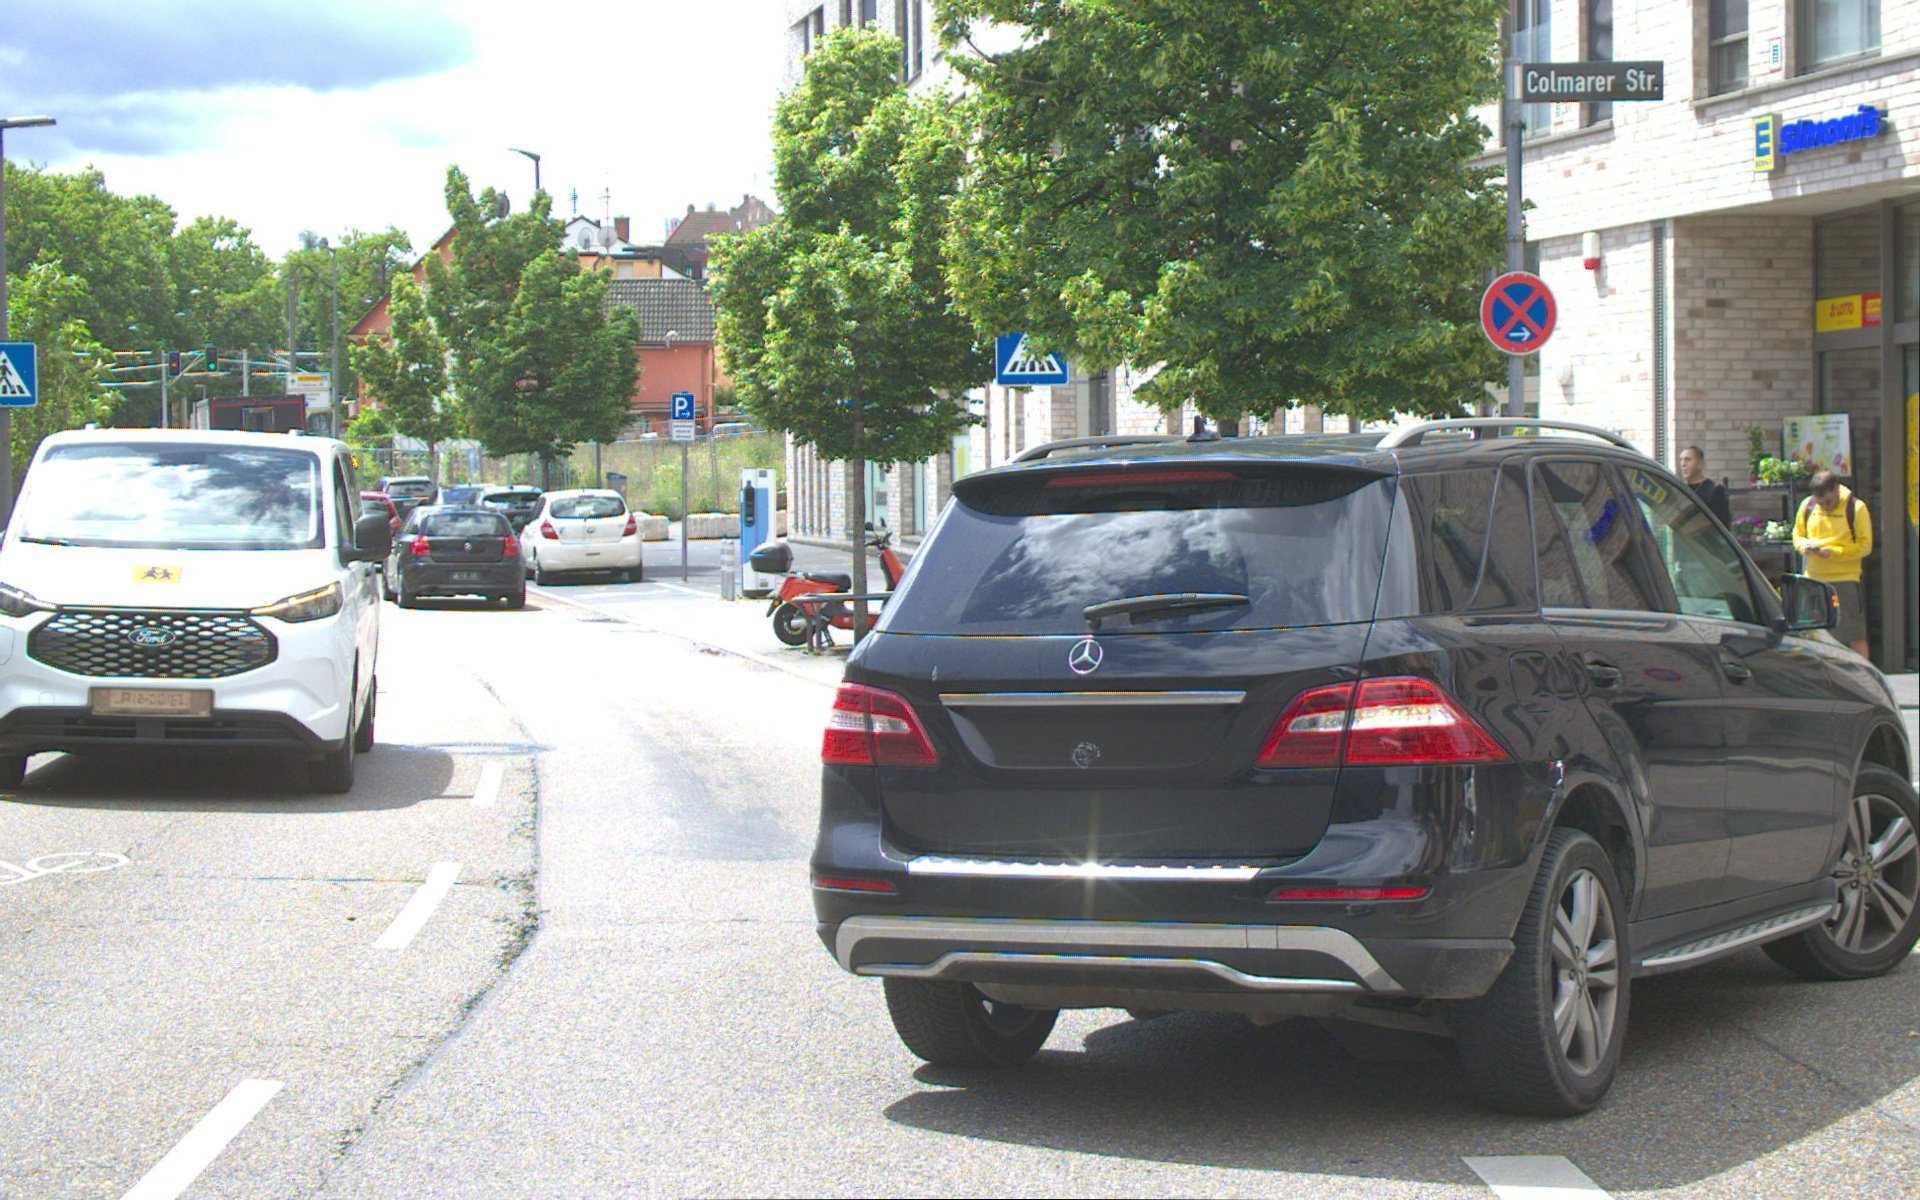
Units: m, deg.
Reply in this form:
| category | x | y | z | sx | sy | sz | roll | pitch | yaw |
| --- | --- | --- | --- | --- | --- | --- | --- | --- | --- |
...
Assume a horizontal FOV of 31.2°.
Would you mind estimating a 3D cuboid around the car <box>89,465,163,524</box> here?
| category | x | y | z | sx | sy | sz | roll | pitch | yaw |
| --- | --- | --- | --- | --- | --- | --- | --- | --- | --- |
| car | -21.769 | -2.770 | 89.815 | 1.811 | 1.464 | 3.909 | 0 | 2 | -13 |

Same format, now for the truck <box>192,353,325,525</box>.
| category | x | y | z | sx | sy | sz | roll | pitch | yaw |
| --- | --- | --- | --- | --- | --- | --- | --- | --- | --- |
| truck | -19.667 | -4.374 | 95.977 | 3.202 | 4.520 | 9.031 | 0 | 1 | -14 |

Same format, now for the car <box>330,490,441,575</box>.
| category | x | y | z | sx | sy | sz | roll | pitch | yaw |
| --- | --- | --- | --- | --- | --- | --- | --- | --- | --- |
| car | -10.452 | -1.255 | 62.396 | 1.711 | 1.388 | 3.810 | -2 | 3 | -13 |

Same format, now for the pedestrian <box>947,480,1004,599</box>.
| category | x | y | z | sx | sy | sz | roll | pitch | yaw |
| --- | --- | --- | --- | --- | --- | --- | --- | --- | --- |
| pedestrian | 0.196 | -0.777 | 43.649 | 0.607 | 1.467 | 0.791 | -2 | 3 | -6 |

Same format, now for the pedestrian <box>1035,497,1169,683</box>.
| category | x | y | z | sx | sy | sz | roll | pitch | yaw |
| --- | --- | --- | --- | --- | --- | --- | --- | --- | --- |
| pedestrian | 1.210 | -0.086 | 29.346 | 0.927 | 1.560 | 0.815 | 0 | 0 | -15 |

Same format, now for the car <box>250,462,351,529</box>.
| category | x | y | z | sx | sy | sz | roll | pitch | yaw |
| --- | --- | --- | --- | --- | --- | --- | --- | --- | --- |
| car | -15.218 | -2.405 | 79.225 | 1.887 | 1.460 | 4.071 | -2 | 2 | -16 |

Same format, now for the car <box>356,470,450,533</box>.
| category | x | y | z | sx | sy | sz | roll | pitch | yaw |
| --- | --- | --- | --- | --- | --- | --- | --- | --- | --- |
| car | -13.939 | -2.483 | 85.937 | 1.781 | 1.446 | 4.478 | -3 | 3 | -15 |

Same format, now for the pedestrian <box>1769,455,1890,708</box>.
| category | x | y | z | sx | sy | sz | roll | pitch | yaw |
| --- | --- | --- | --- | --- | --- | --- | --- | --- | --- |
| pedestrian | 5.910 | -0.137 | 23.353 | 0.658 | 1.686 | 0.631 | 0 | 2 | 27 |

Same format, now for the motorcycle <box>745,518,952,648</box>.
| category | x | y | z | sx | sy | sz | roll | pitch | yaw |
| --- | --- | --- | --- | --- | --- | --- | --- | --- | --- |
| motorcycle | -1.150 | -0.180 | 35.852 | 2.050 | 1.261 | 0.673 | -2 | 1 | 4 |

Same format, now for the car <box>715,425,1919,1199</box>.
| category | x | y | z | sx | sy | sz | roll | pitch | yaw |
| --- | --- | --- | --- | --- | --- | --- | --- | --- | --- |
| car | 1.349 | 0.394 | 10.132 | 1.996 | 1.740 | 4.526 | -1 | 2 | 28 |

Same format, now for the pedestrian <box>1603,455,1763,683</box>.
| category | x | y | z | sx | sy | sz | roll | pitch | yaw |
| --- | --- | --- | --- | --- | --- | --- | --- | --- | --- |
| pedestrian | 5.637 | -0.251 | 26.805 | 1.014 | 1.735 | 0.660 | -1 | 2 | -17 |

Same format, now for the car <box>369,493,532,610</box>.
| category | x | y | z | sx | sy | sz | roll | pitch | yaw |
| --- | --- | --- | --- | --- | --- | --- | --- | --- | --- |
| car | -7.139 | -0.707 | 47.930 | 1.726 | 1.451 | 3.810 | -2 | 3 | -16 |

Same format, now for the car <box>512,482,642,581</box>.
| category | x | y | z | sx | sy | sz | roll | pitch | yaw |
| --- | --- | --- | --- | --- | --- | --- | --- | --- | --- |
| car | -6.284 | -1.144 | 56.156 | 1.692 | 1.478 | 3.799 | -2 | 3 | -12 |

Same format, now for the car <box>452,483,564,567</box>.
| category | x | y | z | sx | sy | sz | roll | pitch | yaw |
| --- | --- | --- | --- | --- | --- | --- | --- | --- | --- |
| car | -8.603 | -1.446 | 65.222 | 1.692 | 1.456 | 4.148 | -2 | 3 | -12 |

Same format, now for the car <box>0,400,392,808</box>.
| category | x | y | z | sx | sy | sz | roll | pitch | yaw |
| --- | --- | --- | --- | --- | --- | --- | --- | --- | --- |
| car | -4.373 | -0.051 | 19.853 | 1.993 | 2.007 | 5.396 | 1 | 1 | -8 |
